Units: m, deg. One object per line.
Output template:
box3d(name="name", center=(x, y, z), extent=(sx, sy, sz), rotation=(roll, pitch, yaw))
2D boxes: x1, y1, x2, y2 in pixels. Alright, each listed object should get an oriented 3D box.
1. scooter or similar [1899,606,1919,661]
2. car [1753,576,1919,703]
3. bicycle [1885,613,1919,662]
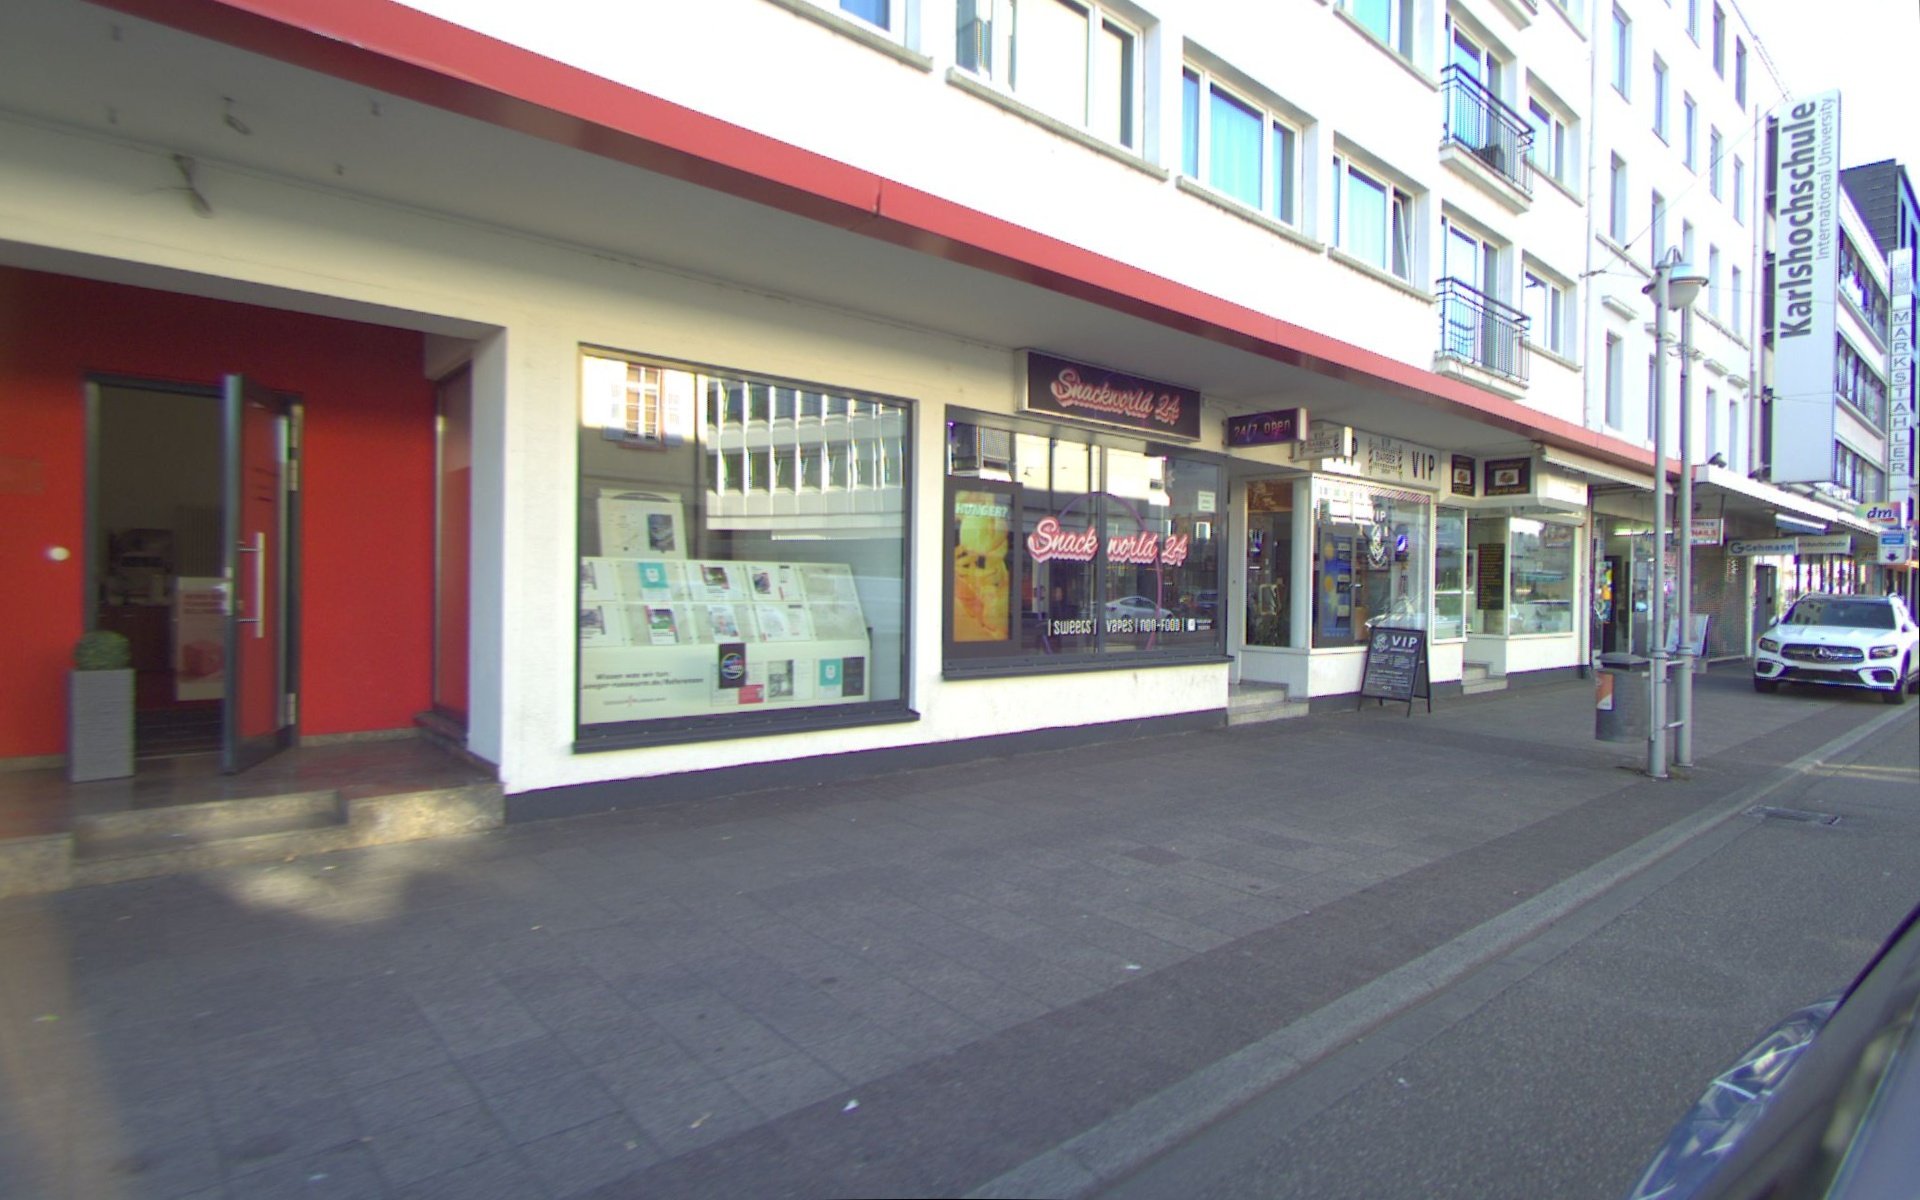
box3d(name="scooter or similar", center=(22.380, 0.791, 23.347), extent=(0.314, 1.247, 0.994), rotation=(0, 3, -42))
box3d(name="car", center=(14.898, 0.526, 16.774), extent=(5.103, 1.745, 1.853), rotation=(0, 3, -42))
box3d(name="bicycle", center=(22.033, 0.871, 23.225), extent=(0.314, 1.093, 1.133), rotation=(0, 3, -42))
